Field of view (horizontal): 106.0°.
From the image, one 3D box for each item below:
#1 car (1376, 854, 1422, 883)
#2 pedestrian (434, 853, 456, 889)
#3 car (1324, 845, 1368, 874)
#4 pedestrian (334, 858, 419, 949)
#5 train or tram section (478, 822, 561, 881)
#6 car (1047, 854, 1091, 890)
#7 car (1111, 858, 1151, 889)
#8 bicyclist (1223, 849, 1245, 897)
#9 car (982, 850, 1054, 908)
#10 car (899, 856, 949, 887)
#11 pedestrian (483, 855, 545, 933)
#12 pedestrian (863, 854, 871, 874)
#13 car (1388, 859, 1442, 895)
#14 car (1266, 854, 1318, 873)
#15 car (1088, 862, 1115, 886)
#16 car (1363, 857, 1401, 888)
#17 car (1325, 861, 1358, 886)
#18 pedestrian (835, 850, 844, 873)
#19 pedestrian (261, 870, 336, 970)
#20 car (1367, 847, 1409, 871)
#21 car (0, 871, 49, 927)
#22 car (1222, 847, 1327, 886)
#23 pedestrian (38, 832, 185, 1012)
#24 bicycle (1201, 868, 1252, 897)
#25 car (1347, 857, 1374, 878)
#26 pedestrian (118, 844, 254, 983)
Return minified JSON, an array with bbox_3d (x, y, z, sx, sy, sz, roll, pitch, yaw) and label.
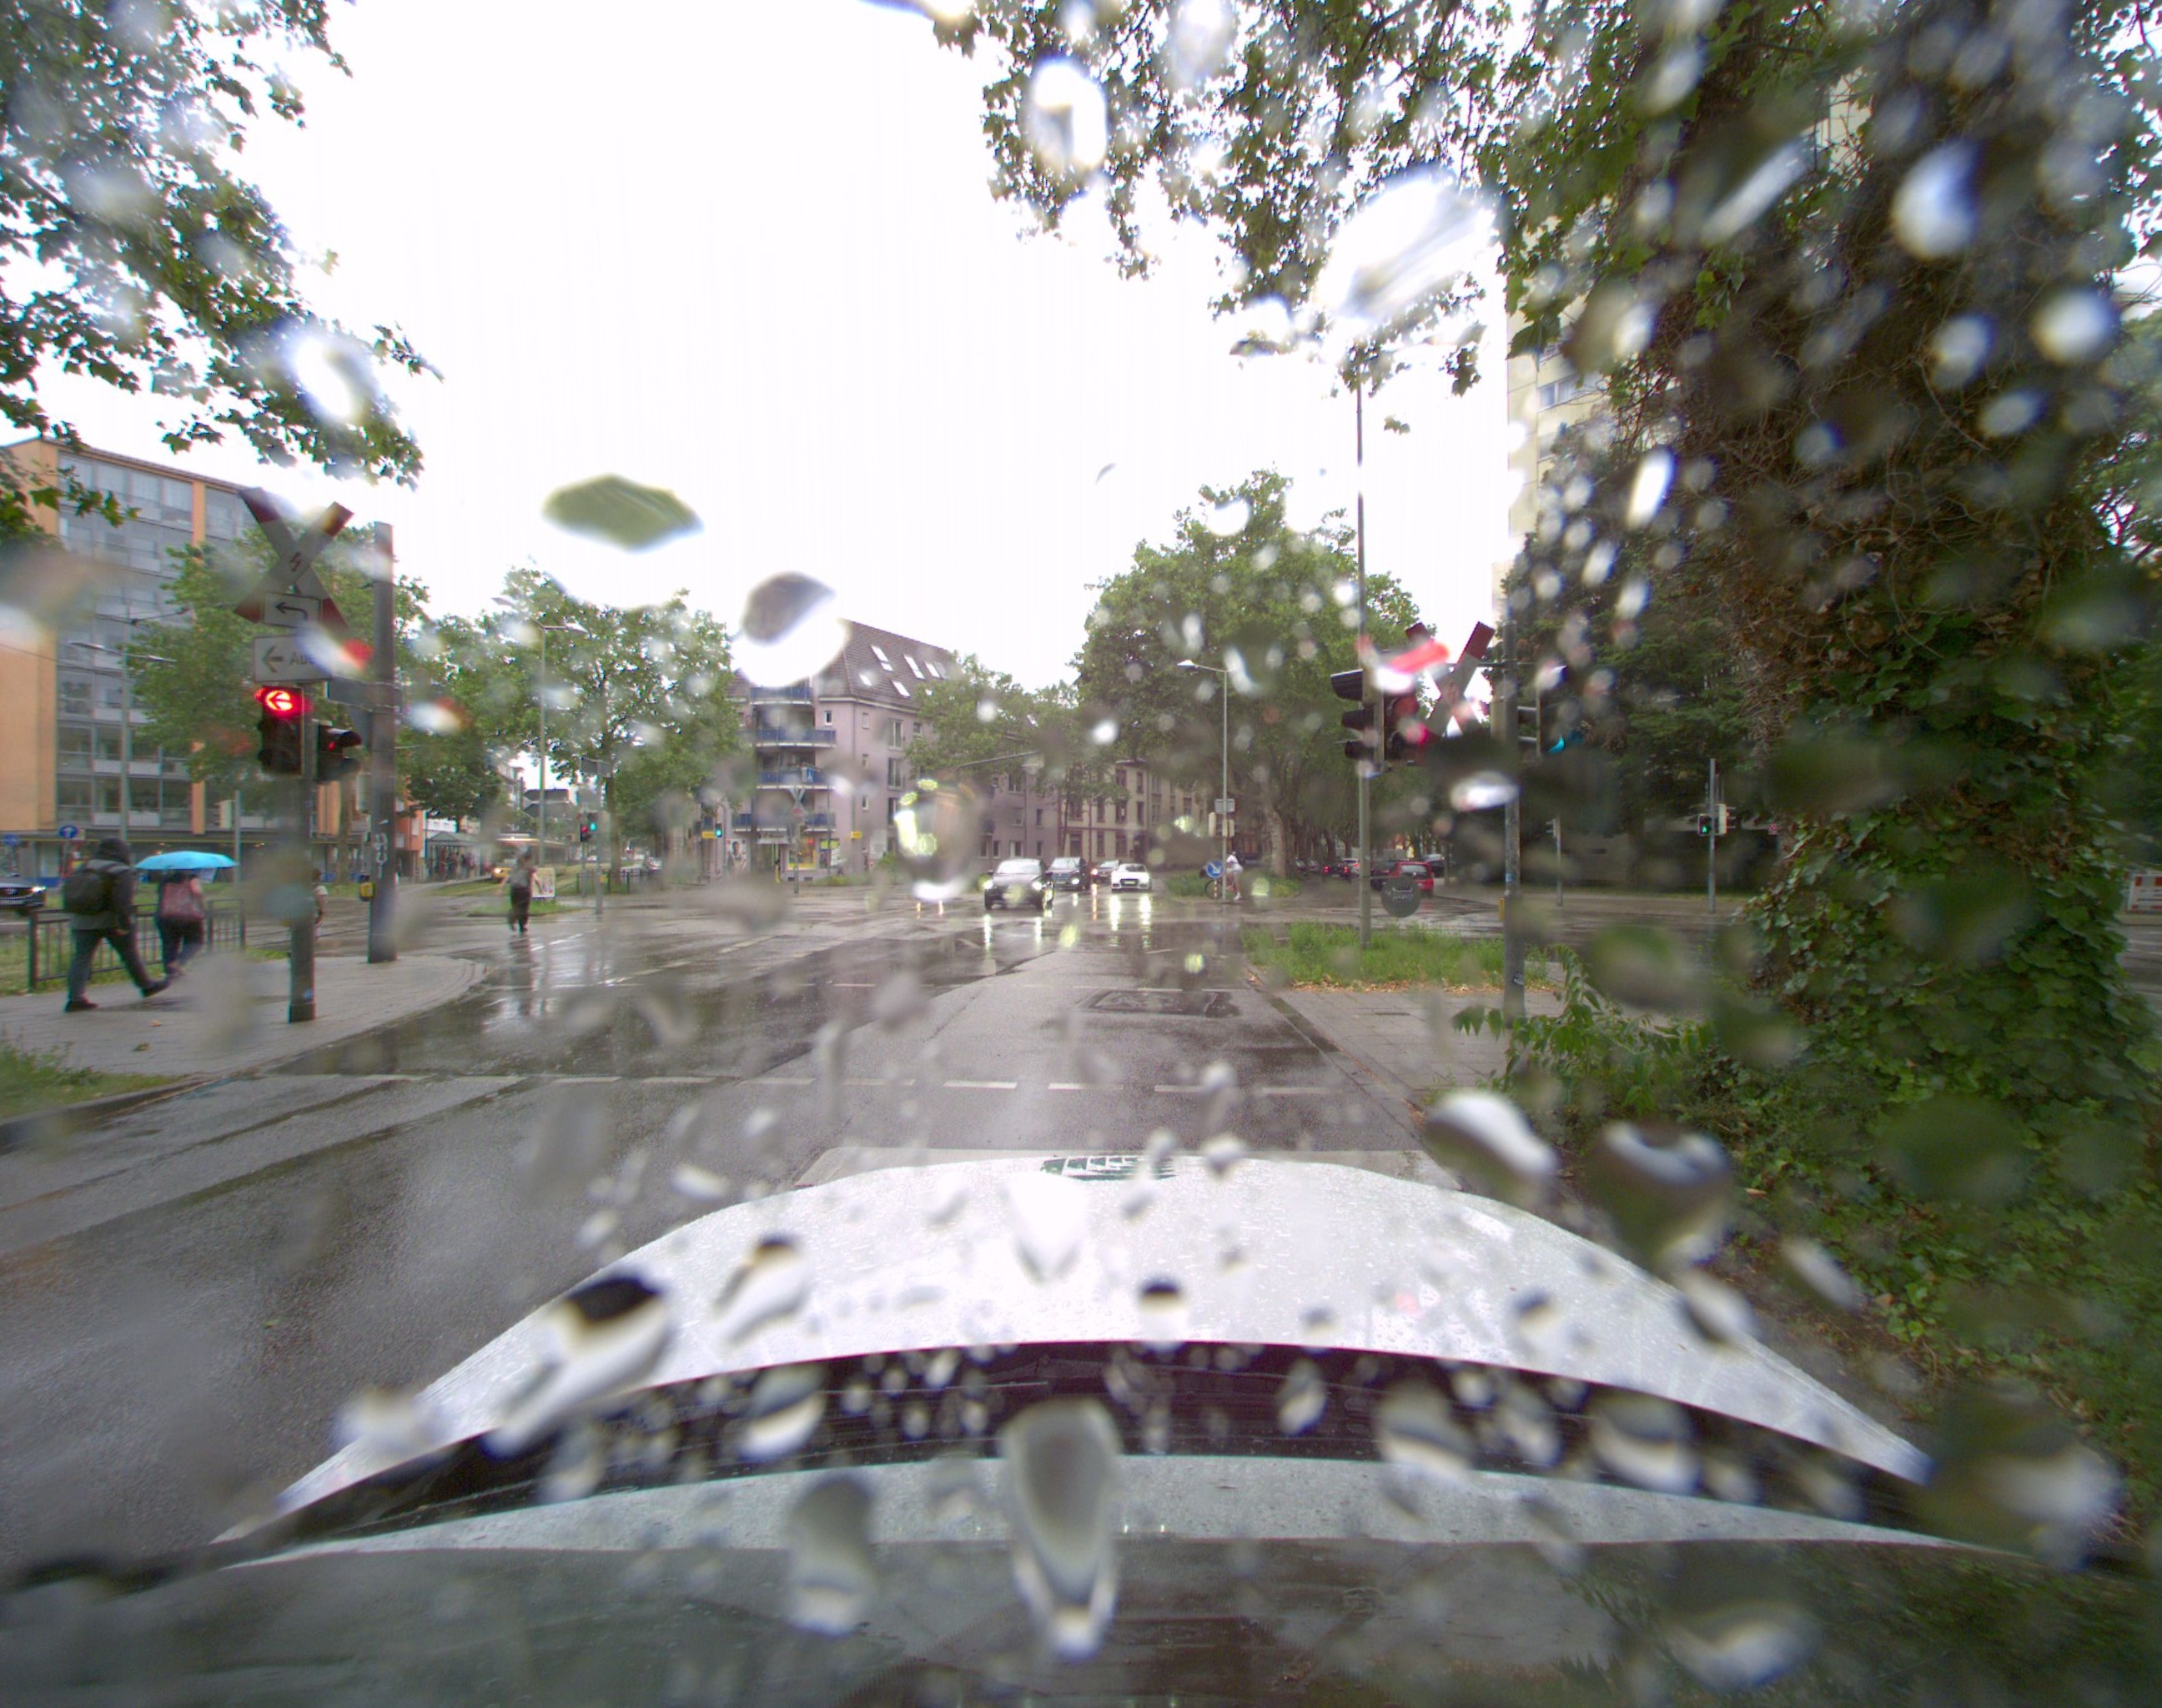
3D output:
[{"bbox_3d":[15.892,0.695,40.865,1.770,1.348,3.945,0,1,16],"label":"car"},{"bbox_3d":[-38.338,1.032,49.107,0.889,2.151,0.902,0,-1,-30],"label":"pedestrian"},{"bbox_3d":[28.320,0.585,87.212,2.040,2.948,4.742,0,-1,-18],"label":"car"},{"bbox_3d":[-13.048,0.888,15.109,0.671,1.600,0.968,0,1,2],"label":"pedestrian"},{"bbox_3d":[-40.791,-0.060,59.784,2.897,3.768,17.089,0,-1,-28],"label":"train or tram section"},{"bbox_3d":[-0.535,0.840,40.340,1.795,1.682,4.608,0,0,4],"label":"car"},{"bbox_3d":[2.472,0.929,40.064,1.876,1.436,4.004,0,0,4],"label":"car"},{"bbox_3d":[5.688,0.712,30.361,0.790,1.786,0.699,-1,-1,9],"label":"bicyclist"},{"bbox_3d":[-1.805,0.678,24.507,1.745,1.591,4.235,0,0,1],"label":"car"},{"bbox_3d":[-8.009,0.849,41.836,1.745,1.512,3.839,0,0,1],"label":"car"},{"bbox_3d":[-11.456,0.784,16.483,0.749,1.533,0.789,0,-1,-9],"label":"pedestrian"},{"bbox_3d":[-14.179,0.685,53.959,0.447,1.329,0.556,0,-1,-29],"label":"pedestrian"},{"bbox_3d":[14.823,0.980,36.329,1.778,1.498,4.017,0,0,16],"label":"car"},{"bbox_3d":[16.930,0.770,65.236,3.958,1.486,2.008,-1,-1,14],"label":"car"},{"bbox_3d":[1.340,1.283,52.869,1.708,1.459,3.748,0,-1,1],"label":"car"},{"bbox_3d":[17.535,1.061,47.537,1.769,1.727,4.017,-1,-1,16],"label":"car"},{"bbox_3d":[16.465,1.190,51.399,1.666,1.474,3.683,-1,-1,23],"label":"car"},{"bbox_3d":[-15.731,0.505,53.078,0.444,1.457,0.560,0,-1,-8],"label":"pedestrian"},{"bbox_3d":[-11.546,0.942,12.034,0.653,1.396,0.774,0,0,-33],"label":"pedestrian"},{"bbox_3d":[38.986,0.639,103.563,2.006,2.948,4.726,0,-1,-29],"label":"car"},{"bbox_3d":[-32.271,1.269,23.392,3.994,1.530,1.615,0,1,12],"label":"car"},{"bbox_3d":[7.750,0.516,32.658,3.958,1.486,2.008,-1,-1,14],"label":"car"},{"bbox_3d":[-10.495,0.702,8.851,0.791,1.855,0.676,0,0,-22],"label":"pedestrian"},{"bbox_3d":[5.423,1.067,30.398,1.862,1.081,0.658,-1,-1,9],"label":"bicycle"},{"bbox_3d":[22.548,1.055,65.656,1.759,1.678,4.022,-1,-1,23],"label":"car"},{"bbox_3d":[-12.064,0.763,11.027,0.962,1.766,0.944,0,-1,-28],"label":"pedestrian"}]
